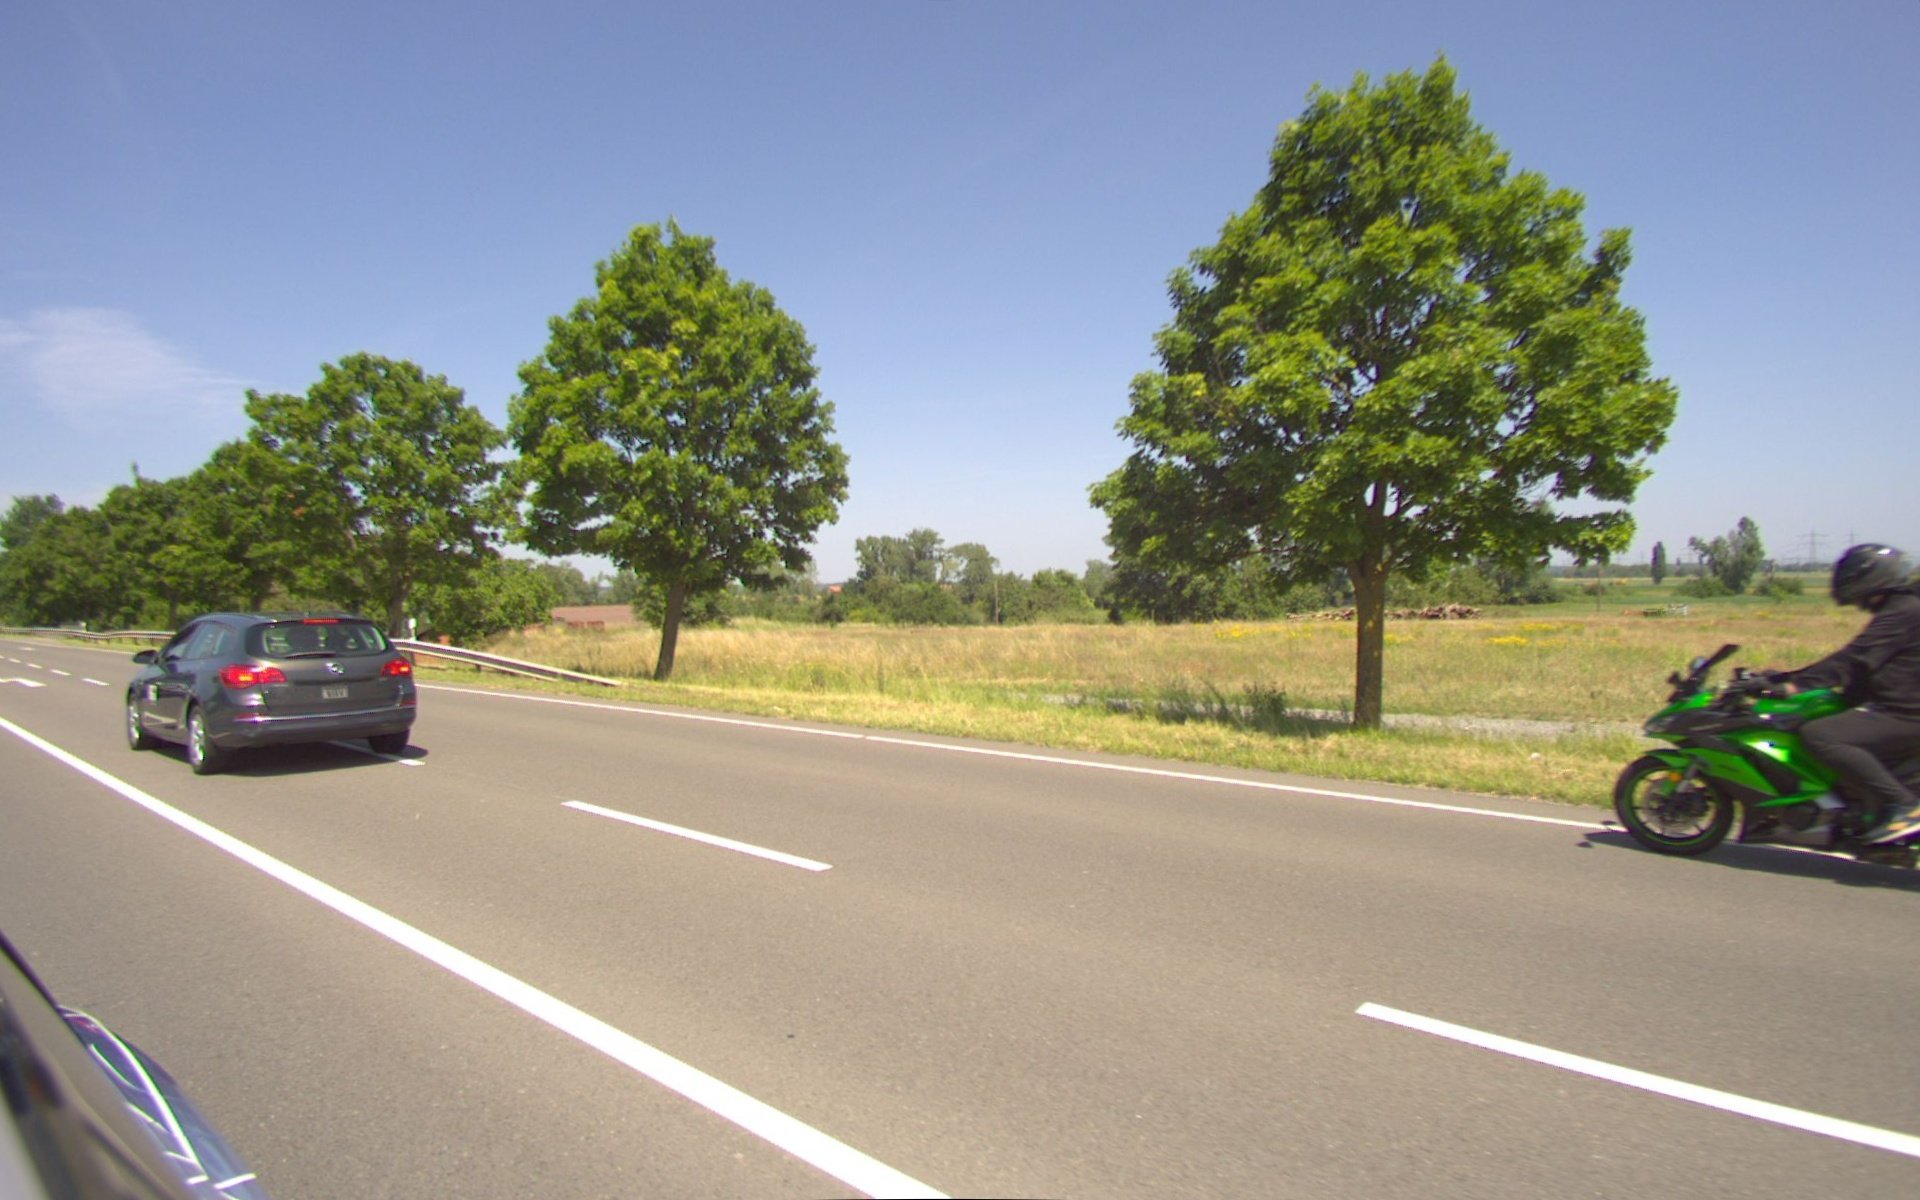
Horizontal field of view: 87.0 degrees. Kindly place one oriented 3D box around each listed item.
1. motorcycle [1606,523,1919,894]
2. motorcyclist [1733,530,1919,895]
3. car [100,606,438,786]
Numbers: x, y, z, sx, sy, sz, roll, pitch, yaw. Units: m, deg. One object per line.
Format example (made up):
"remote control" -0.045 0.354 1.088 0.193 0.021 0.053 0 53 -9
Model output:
"motorcycle" 4.809 0.514 5.148 2.444 1.756 0.879 -1 -1 41
"motorcyclist" 4.721 0.536 5.230 1.088 1.734 0.844 -1 -1 41
"car" -7.336 0.833 10.545 4.614 1.484 1.722 -1 -1 40
